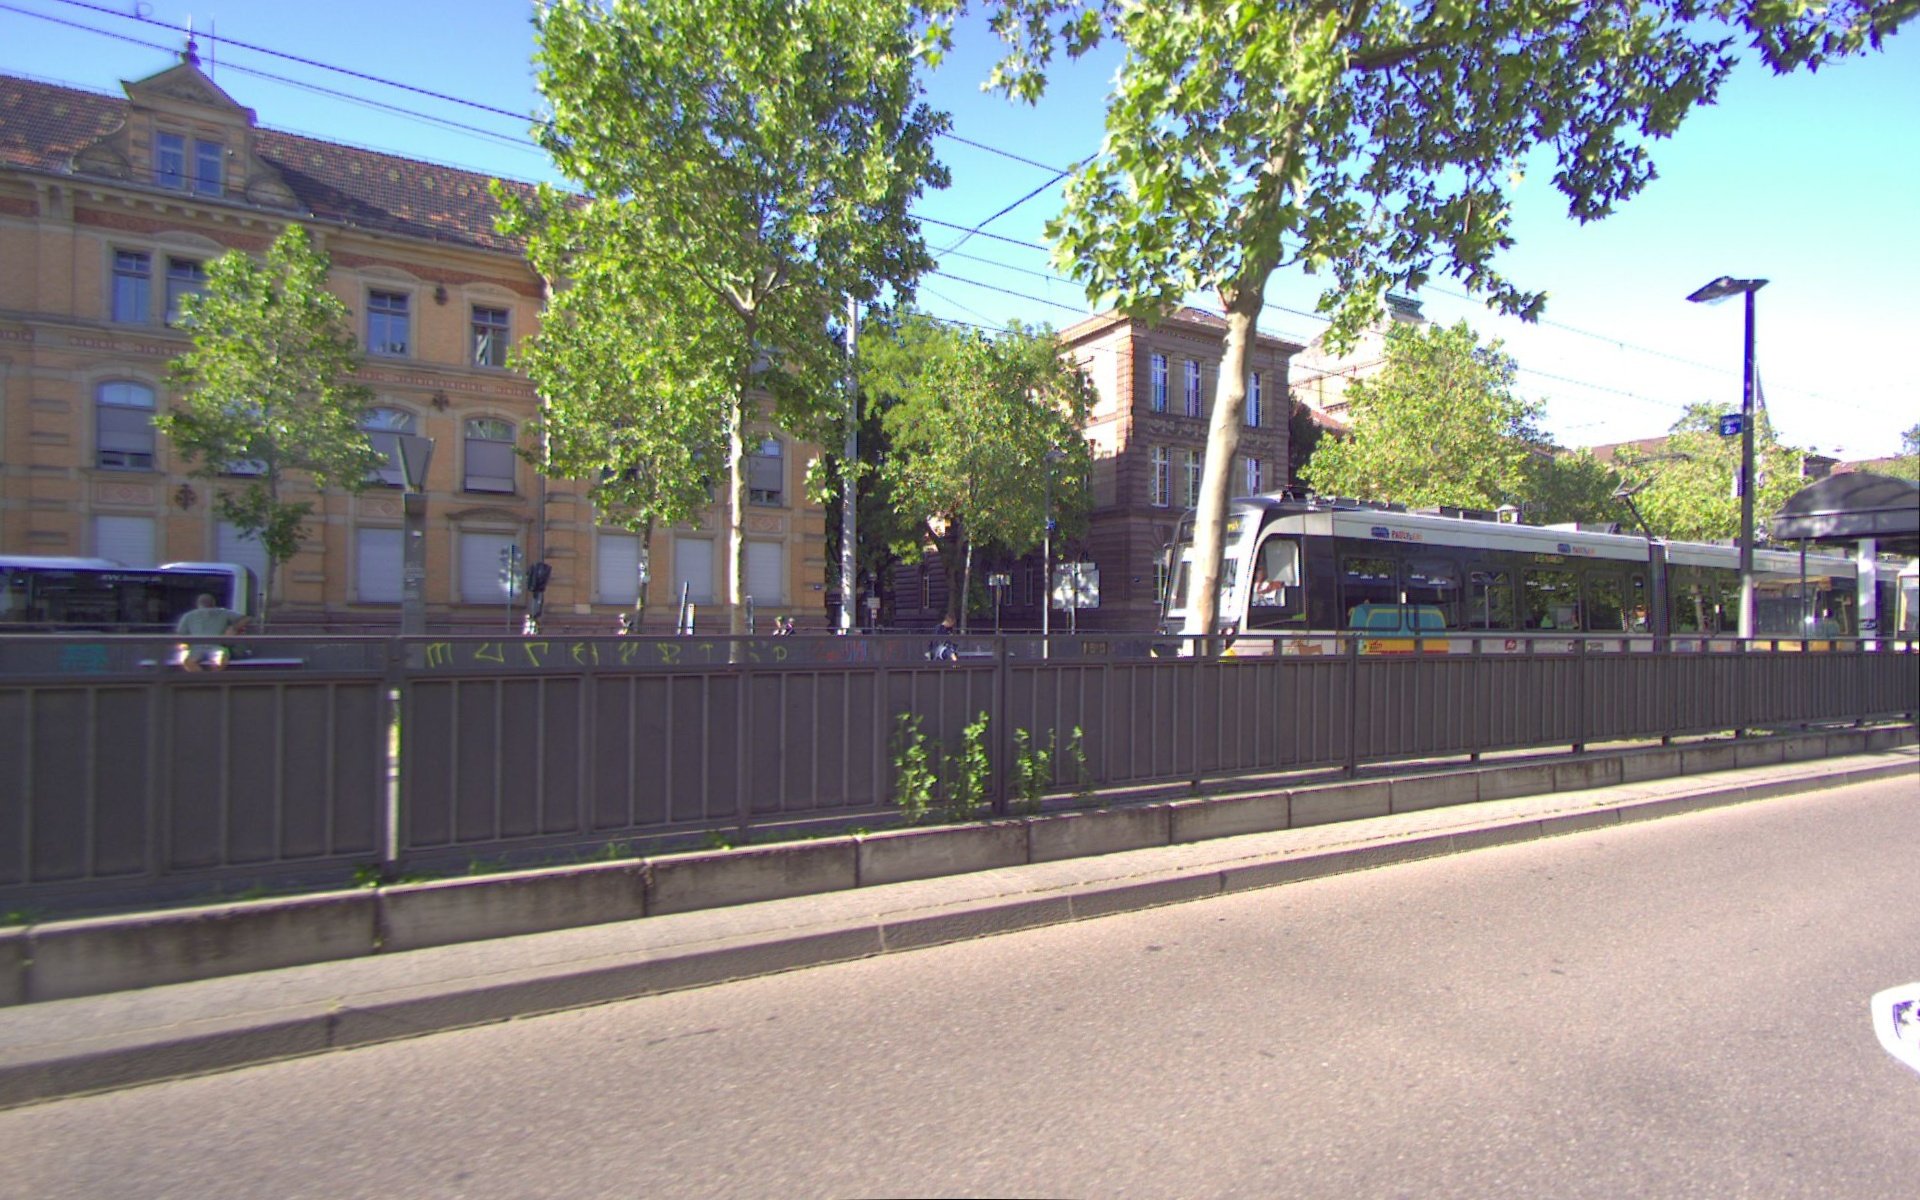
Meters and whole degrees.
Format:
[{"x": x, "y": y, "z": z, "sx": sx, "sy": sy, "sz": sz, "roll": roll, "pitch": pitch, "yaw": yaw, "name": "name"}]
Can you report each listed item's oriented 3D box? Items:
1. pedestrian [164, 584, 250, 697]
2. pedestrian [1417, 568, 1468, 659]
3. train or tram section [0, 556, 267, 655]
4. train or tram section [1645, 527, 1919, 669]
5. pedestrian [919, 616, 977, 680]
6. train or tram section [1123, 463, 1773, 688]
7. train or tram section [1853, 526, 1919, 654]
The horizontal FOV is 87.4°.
[{"x": -10.228, "y": 0.557, "z": 13.683, "sx": 0.870, "sy": 1.480, "sz": 0.721, "roll": 1, "pitch": -3, "yaw": -34, "name": "pedestrian"}, {"x": 10.119, "y": 0.296, "z": 21.059, "sx": 0.641, "sy": 1.879, "sz": 0.706, "roll": 1, "pitch": -2, "yaw": -31, "name": "pedestrian"}, {"x": -23.334, "y": 0.144, "z": 24.841, "sx": 9.938, "sy": 2.359, "sz": 2.632, "roll": 1, "pitch": -1, "yaw": -30, "name": "train or tram section"}, {"x": 27.010, "y": 0.090, "z": 30.462, "sx": 17.999, "sy": 3.480, "sz": 2.835, "roll": 1, "pitch": 0, "yaw": -30, "name": "train or tram section"}, {"x": -0.228, "y": 0.909, "z": 19.194, "sx": 0.876, "sy": 1.182, "sz": 0.723, "roll": 1, "pitch": -1, "yaw": -30, "name": "pedestrian"}, {"x": 11.435, "y": -0.229, "z": 21.343, "sx": 18.060, "sy": 3.480, "sz": 2.857, "roll": 1, "pitch": 0, "yaw": -30, "name": "train or tram section"}, {"x": 31.439, "y": 0.032, "z": 29.648, "sx": 15.709, "sy": 3.303, "sz": 2.900, "roll": 2, "pitch": 0, "yaw": -31, "name": "train or tram section"}]
